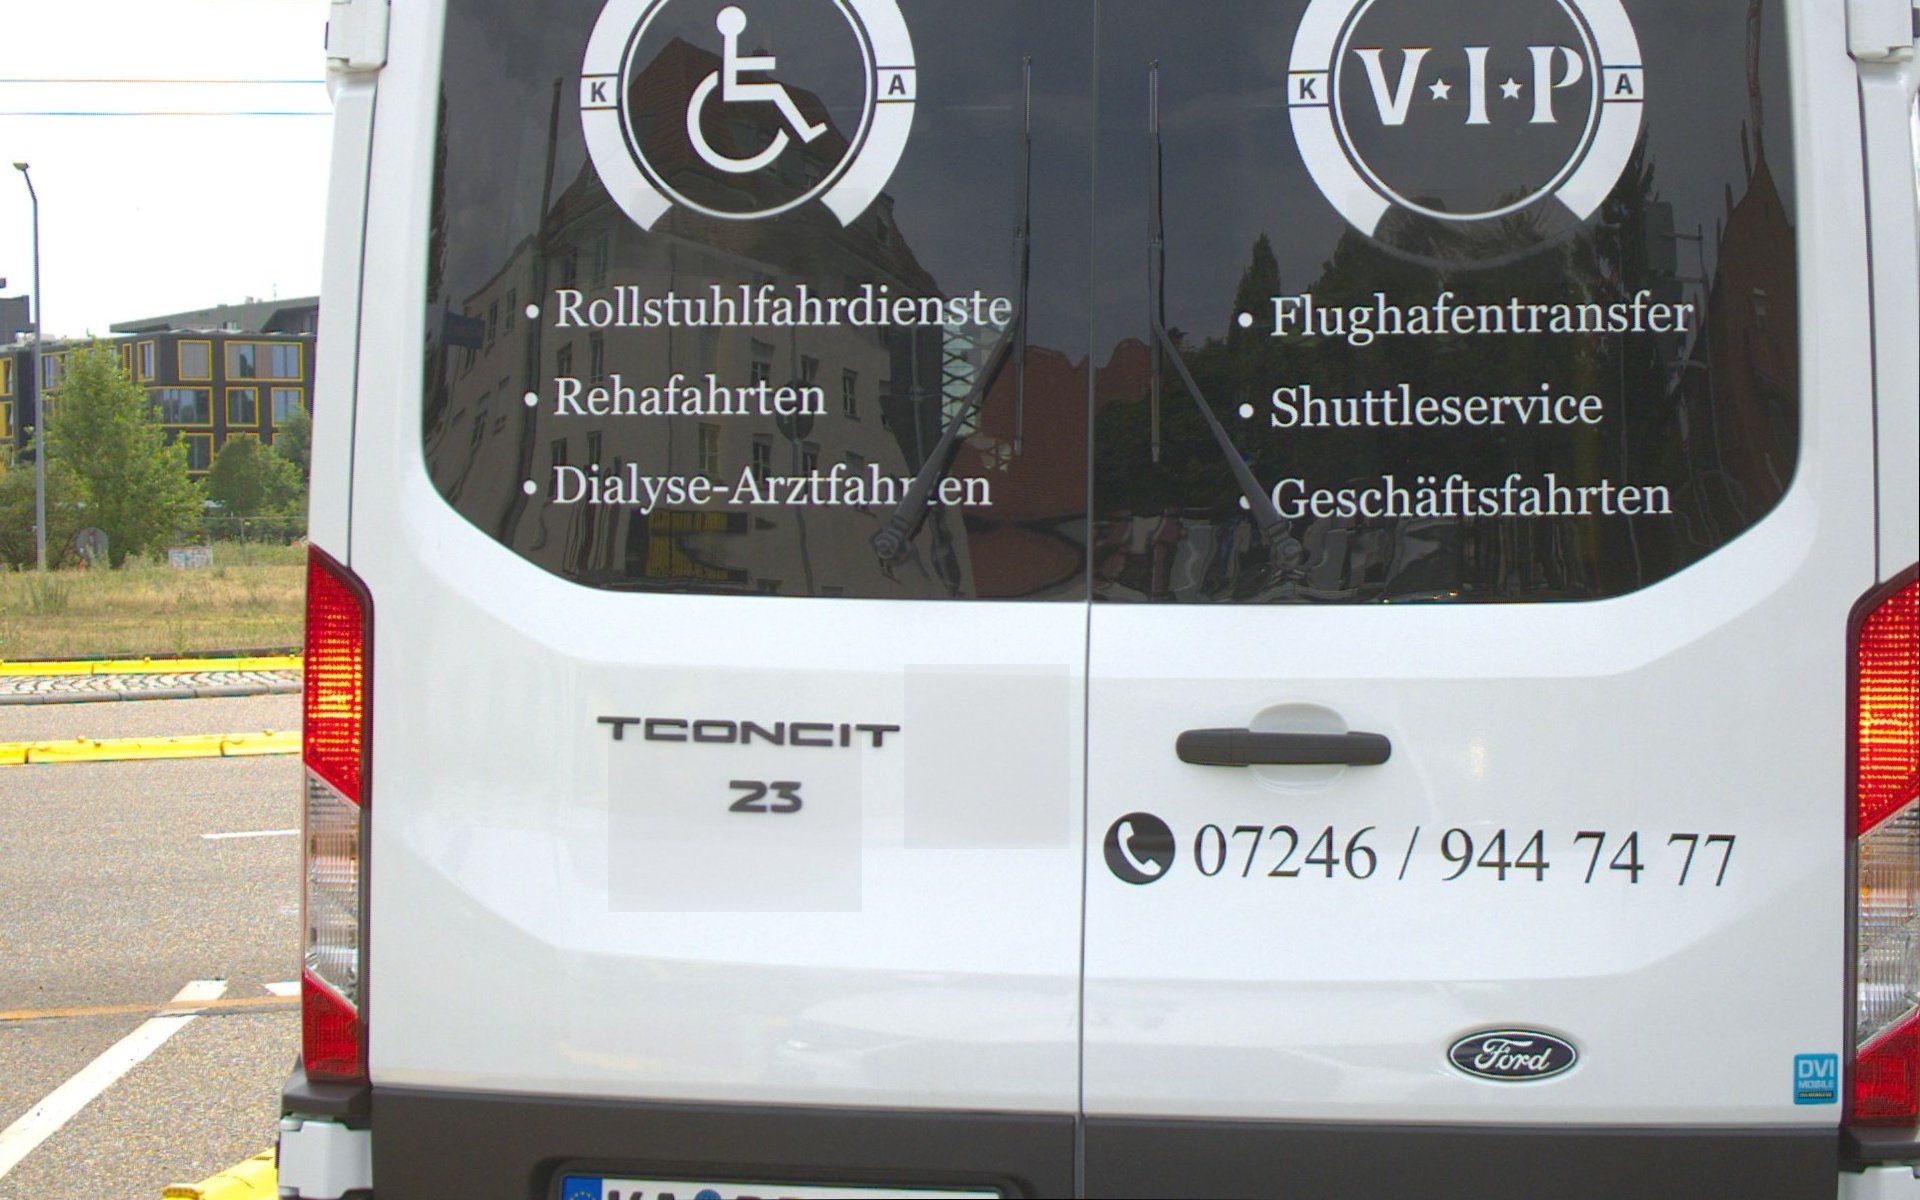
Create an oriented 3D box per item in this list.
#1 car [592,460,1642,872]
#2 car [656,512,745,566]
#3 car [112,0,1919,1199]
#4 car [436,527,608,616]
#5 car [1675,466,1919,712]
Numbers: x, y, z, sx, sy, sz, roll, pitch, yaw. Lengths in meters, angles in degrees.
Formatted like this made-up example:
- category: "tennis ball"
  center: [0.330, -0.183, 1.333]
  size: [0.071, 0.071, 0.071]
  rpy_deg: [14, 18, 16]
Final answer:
- category: "car"
  center: [0.702, 0.191, 14.594]
  size: [4.133, 1.514, 1.741]
  rpy_deg: [-2, 2, -28]
- category: "car"
  center: [-7.240, -1.712, 96.208]
  size: [1.827, 1.458, 3.999]
  rpy_deg: [0, 1, 6]
- category: "car"
  center: [0.434, -0.020, 6.414]
  size: [2.127, 2.688, 5.631]
  rpy_deg: [-1, 1, 6]
- category: "car"
  center: [-10.194, -0.658, 80.204]
  size: [1.997, 2.007, 3.993]
  rpy_deg: [0, 0, 30]
- category: "car"
  center: [6.900, -0.134, 22.247]
  size: [4.246, 1.457, 1.831]
  rpy_deg: [-2, 2, -27]
